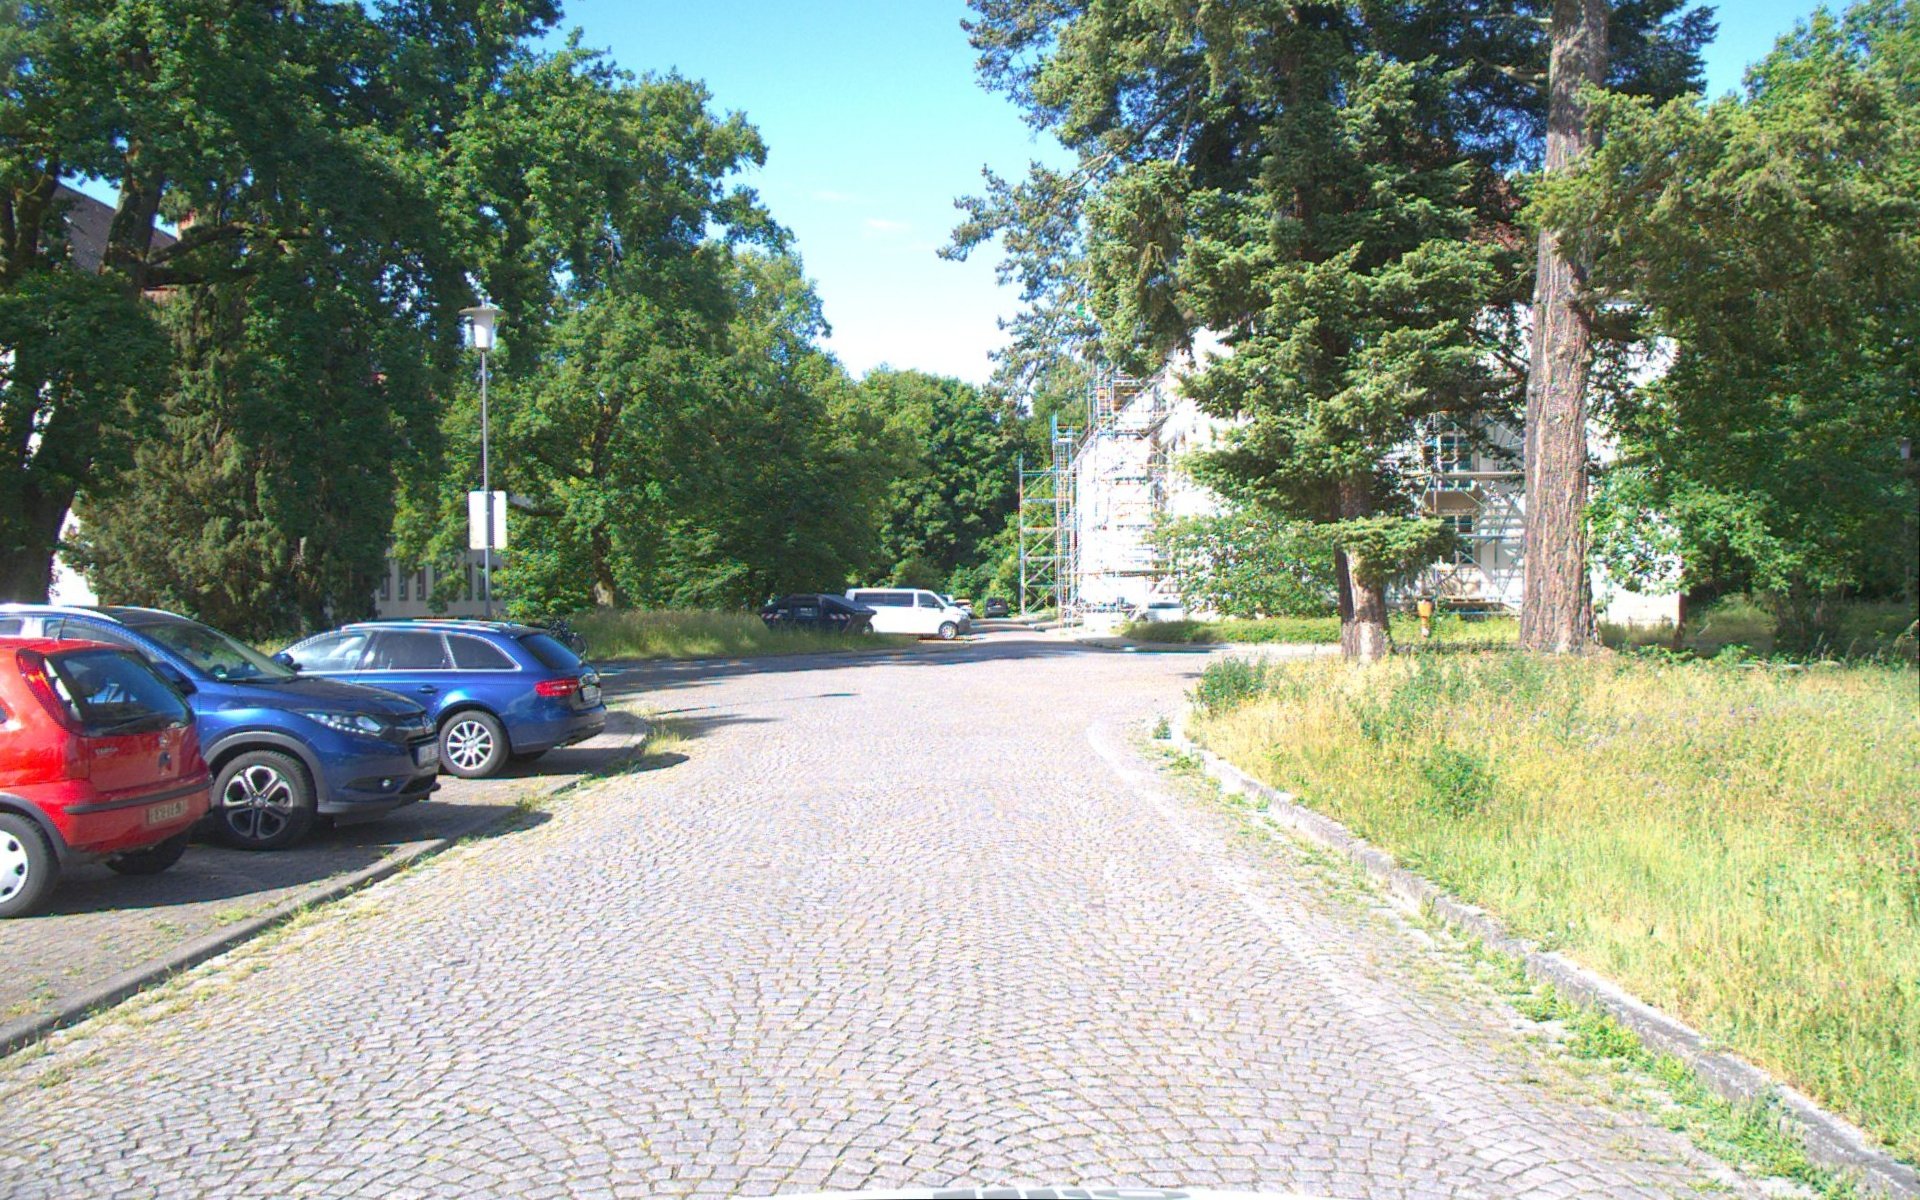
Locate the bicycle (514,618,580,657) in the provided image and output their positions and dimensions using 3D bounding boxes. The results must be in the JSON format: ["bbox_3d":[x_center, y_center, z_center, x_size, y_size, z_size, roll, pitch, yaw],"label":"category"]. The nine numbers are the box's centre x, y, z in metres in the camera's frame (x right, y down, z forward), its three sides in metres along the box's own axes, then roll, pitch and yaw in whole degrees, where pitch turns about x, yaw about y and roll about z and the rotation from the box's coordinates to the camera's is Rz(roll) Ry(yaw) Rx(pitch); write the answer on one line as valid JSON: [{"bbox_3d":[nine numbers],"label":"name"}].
[{"bbox_3d":[-12.556,1.137,50.292,1.886,1.076,0.473,-3,1,-22],"label":"bicycle"}]

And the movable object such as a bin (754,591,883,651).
[{"bbox_3d":[-4.447,0.650,52.210,3.491,1.775,2.026,-2,0,18],"label":"movable object such as a bin"}]

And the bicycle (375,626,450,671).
[{"bbox_3d":[-15.064,1.317,45.509,1.888,1.122,0.566,-2,2,-25],"label":"bicycle"}]

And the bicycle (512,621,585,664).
[{"bbox_3d":[-11.528,1.181,46.368,1.888,1.076,0.472,-3,1,-23],"label":"bicycle"}]

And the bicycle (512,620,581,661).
[{"bbox_3d":[-12.124,1.185,48.529,1.886,1.076,0.473,-3,1,-22],"label":"bicycle"}]

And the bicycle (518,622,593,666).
[{"bbox_3d":[-11.095,1.204,45.380,1.893,1.076,0.471,-4,1,-30],"label":"bicycle"}]

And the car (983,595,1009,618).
[{"bbox_3d":[2.869,0.524,131.665,1.931,1.697,4.085,-2,0,-1],"label":"car"}]

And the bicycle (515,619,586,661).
[{"bbox_3d":[-11.821,1.148,47.719,1.888,1.076,0.472,-3,1,-23],"label":"bicycle"}]

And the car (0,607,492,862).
[{"bbox_3d":[-5.626,0.889,11.735,4.050,1.607,1.884,-1,0,0],"label":"car"}]

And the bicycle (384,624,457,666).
[{"bbox_3d":[-15.384,1.267,47.167,1.891,1.122,0.565,-1,1,-29],"label":"bicycle"}]

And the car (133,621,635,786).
[{"bbox_3d":[-5.588,0.985,16.418,4.269,1.470,1.921,-1,0,2],"label":"car"}]

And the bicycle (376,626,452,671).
[{"bbox_3d":[-14.852,1.319,45.015,1.888,1.122,0.566,-2,2,-25],"label":"bicycle"}]

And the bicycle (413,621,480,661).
[{"bbox_3d":[-15.383,1.226,49.550,1.884,1.122,0.567,-1,1,-20],"label":"bicycle"}]

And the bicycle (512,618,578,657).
[{"bbox_3d":[-12.736,1.144,50.757,1.886,1.076,0.473,-3,1,-22],"label":"bicycle"}]

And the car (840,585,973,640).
[{"bbox_3d":[-2.080,0.476,65.322,5.128,2.051,1.950,-1,0,-1],"label":"car"}]

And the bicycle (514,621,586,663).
[{"bbox_3d":[-11.636,1.189,46.931,1.888,1.076,0.472,-3,1,-23],"label":"bicycle"}]

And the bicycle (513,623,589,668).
[{"bbox_3d":[-11.077,1.234,44.825,1.893,1.076,0.471,-4,1,-30],"label":"bicycle"}]

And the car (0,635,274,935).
[{"bbox_3d":[-6.190,0.977,9.335,3.842,1.458,1.842,-1,0,1],"label":"car"}]

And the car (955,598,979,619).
[{"bbox_3d":[0.517,0.645,131.348,1.775,1.607,4.134,-2,0,-1],"label":"car"}]

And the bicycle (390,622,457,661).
[{"bbox_3d":[-16.542,1.264,51.003,1.888,1.122,0.566,-1,1,-24],"label":"bicycle"}]
